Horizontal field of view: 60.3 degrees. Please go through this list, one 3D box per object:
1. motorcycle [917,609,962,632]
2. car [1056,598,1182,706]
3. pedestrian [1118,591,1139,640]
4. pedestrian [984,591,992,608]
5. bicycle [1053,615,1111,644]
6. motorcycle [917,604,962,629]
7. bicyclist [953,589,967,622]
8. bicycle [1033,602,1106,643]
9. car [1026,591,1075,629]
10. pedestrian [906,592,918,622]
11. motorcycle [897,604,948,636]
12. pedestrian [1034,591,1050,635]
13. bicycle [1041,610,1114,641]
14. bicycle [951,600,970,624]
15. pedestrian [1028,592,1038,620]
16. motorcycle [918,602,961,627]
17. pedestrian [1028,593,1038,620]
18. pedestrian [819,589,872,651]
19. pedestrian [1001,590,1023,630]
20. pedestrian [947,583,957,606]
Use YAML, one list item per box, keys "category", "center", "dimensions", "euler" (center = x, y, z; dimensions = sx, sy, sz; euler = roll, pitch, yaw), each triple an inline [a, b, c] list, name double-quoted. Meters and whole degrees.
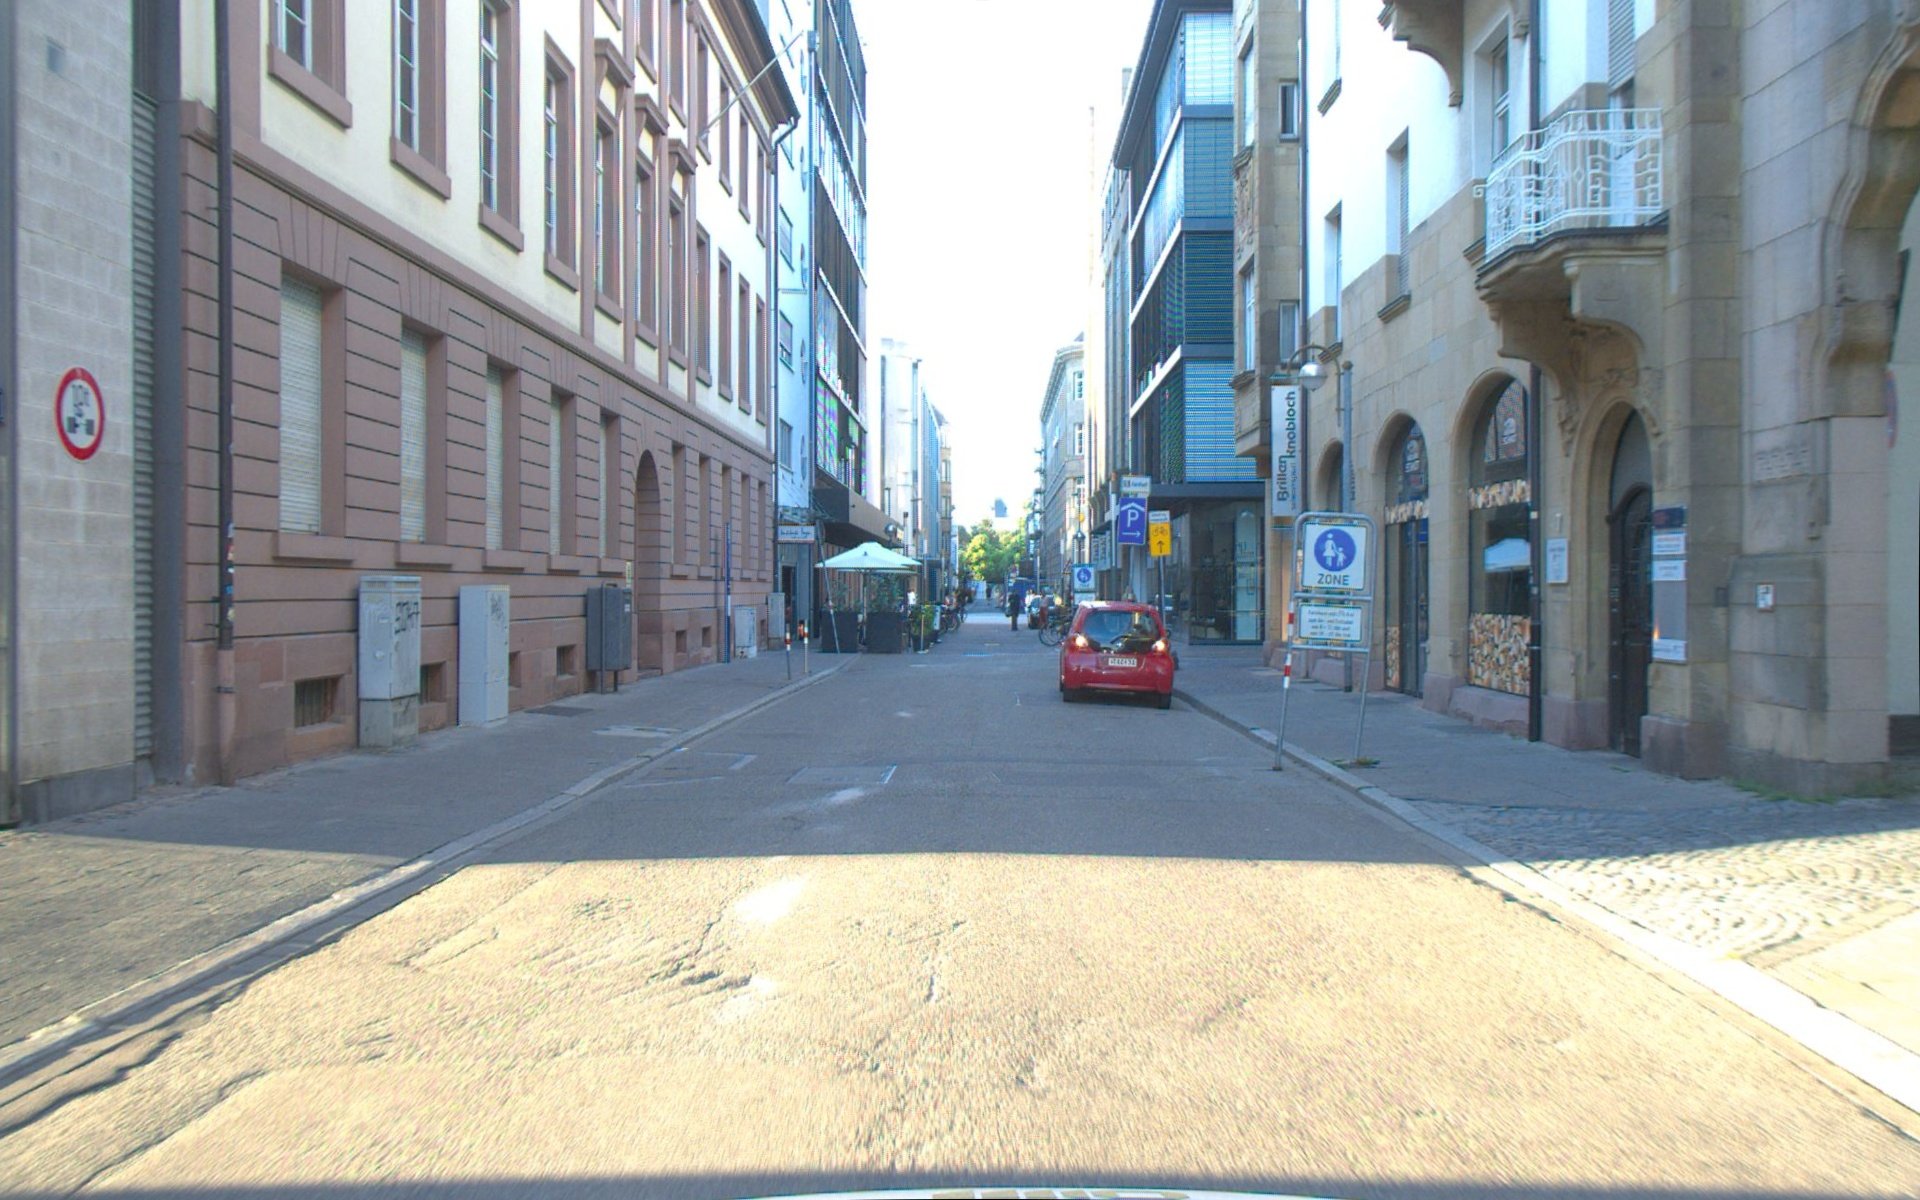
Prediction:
- category: "motorcycle"
  center: [-0.810, 0.794, 65.015]
  dimensions: [1.765, 0.891, 0.560]
  euler: [0, 0, -3]
- category: "car"
  center: [2.347, 0.733, 25.116]
  dimensions: [1.615, 1.452, 3.536]
  euler: [2, 0, 2]
- category: "pedestrian"
  center: [5.277, 0.481, 51.914]
  dimensions: [0.643, 1.513, 0.493]
  euler: [0, 0, 3]
- category: "pedestrian"
  center: [2.854, -0.046, 169.189]
  dimensions: [0.788, 1.702, 0.889]
  euler: [0, 0, 3]
- category: "bicycle"
  center: [3.343, 0.797, 45.400]
  dimensions: [1.534, 0.782, 0.557]
  euler: [0, 0, -3]
- category: "motorcycle"
  center: [-0.819, 0.653, 66.048]
  dimensions: [1.765, 1.007, 0.560]
  euler: [0, 0, -3]
- category: "bicyclist"
  center: [0.007, 0.274, 82.138]
  dimensions: [0.624, 1.669, 0.770]
  euler: [0, 0, -8]
- category: "bicycle"
  center: [3.101, 0.629, 46.912]
  dimensions: [2.011, 1.154, 0.649]
  euler: [0, 0, -3]
- category: "car"
  center: [4.043, 0.428, 74.206]
  dimensions: [1.953, 1.639, 4.000]
  euler: [0, 0, 0]
- category: "pedestrian"
  center: [-2.687, 0.396, 93.082]
  dimensions: [0.592, 1.651, 0.528]
  euler: [0, 0, -9]
- category: "motorcycle"
  center: [-1.287, 0.682, 56.836]
  dimensions: [1.765, 1.059, 0.493]
  euler: [0, 0, -3]
- category: "pedestrian"
  center: [3.086, 0.472, 62.253]
  dimensions: [0.619, 1.648, 0.466]
  euler: [0, 0, 2]
- category: "bicycle"
  center: [3.521, 0.765, 49.657]
  dimensions: [2.156, 0.921, 0.649]
  euler: [0, 0, -3]
- category: "bicycle"
  center: [0.012, 0.578, 82.102]
  dimensions: [0.624, 1.177, 2.497]
  euler: [0, 0, -7]
- category: "pedestrian"
  center: [4.455, 0.359, 100.886]
  dimensions: [0.591, 1.651, 0.626]
  euler: [0, 0, 3]
- category: "motorcycle"
  center: [-0.849, 0.596, 67.685]
  dimensions: [1.765, 1.007, 0.560]
  euler: [0, 0, -3]
- category: "pedestrian"
  center: [4.450, 0.380, 100.298]
  dimensions: [0.591, 1.651, 0.529]
  euler: [0, 0, 3]
- category: "pedestrian"
  center: [-2.834, 0.489, 40.888]
  dimensions: [1.264, 1.513, 0.661]
  euler: [0, 0, -1]
- category: "pedestrian"
  center: [2.287, 0.444, 72.916]
  dimensions: [0.849, 1.743, 0.851]
  euler: [0, 0, -7]
- category: "pedestrian"
  center: [-0.551, -0.392, 115.824]
  dimensions: [0.664, 1.651, 0.626]
  euler: [0, 0, 3]
